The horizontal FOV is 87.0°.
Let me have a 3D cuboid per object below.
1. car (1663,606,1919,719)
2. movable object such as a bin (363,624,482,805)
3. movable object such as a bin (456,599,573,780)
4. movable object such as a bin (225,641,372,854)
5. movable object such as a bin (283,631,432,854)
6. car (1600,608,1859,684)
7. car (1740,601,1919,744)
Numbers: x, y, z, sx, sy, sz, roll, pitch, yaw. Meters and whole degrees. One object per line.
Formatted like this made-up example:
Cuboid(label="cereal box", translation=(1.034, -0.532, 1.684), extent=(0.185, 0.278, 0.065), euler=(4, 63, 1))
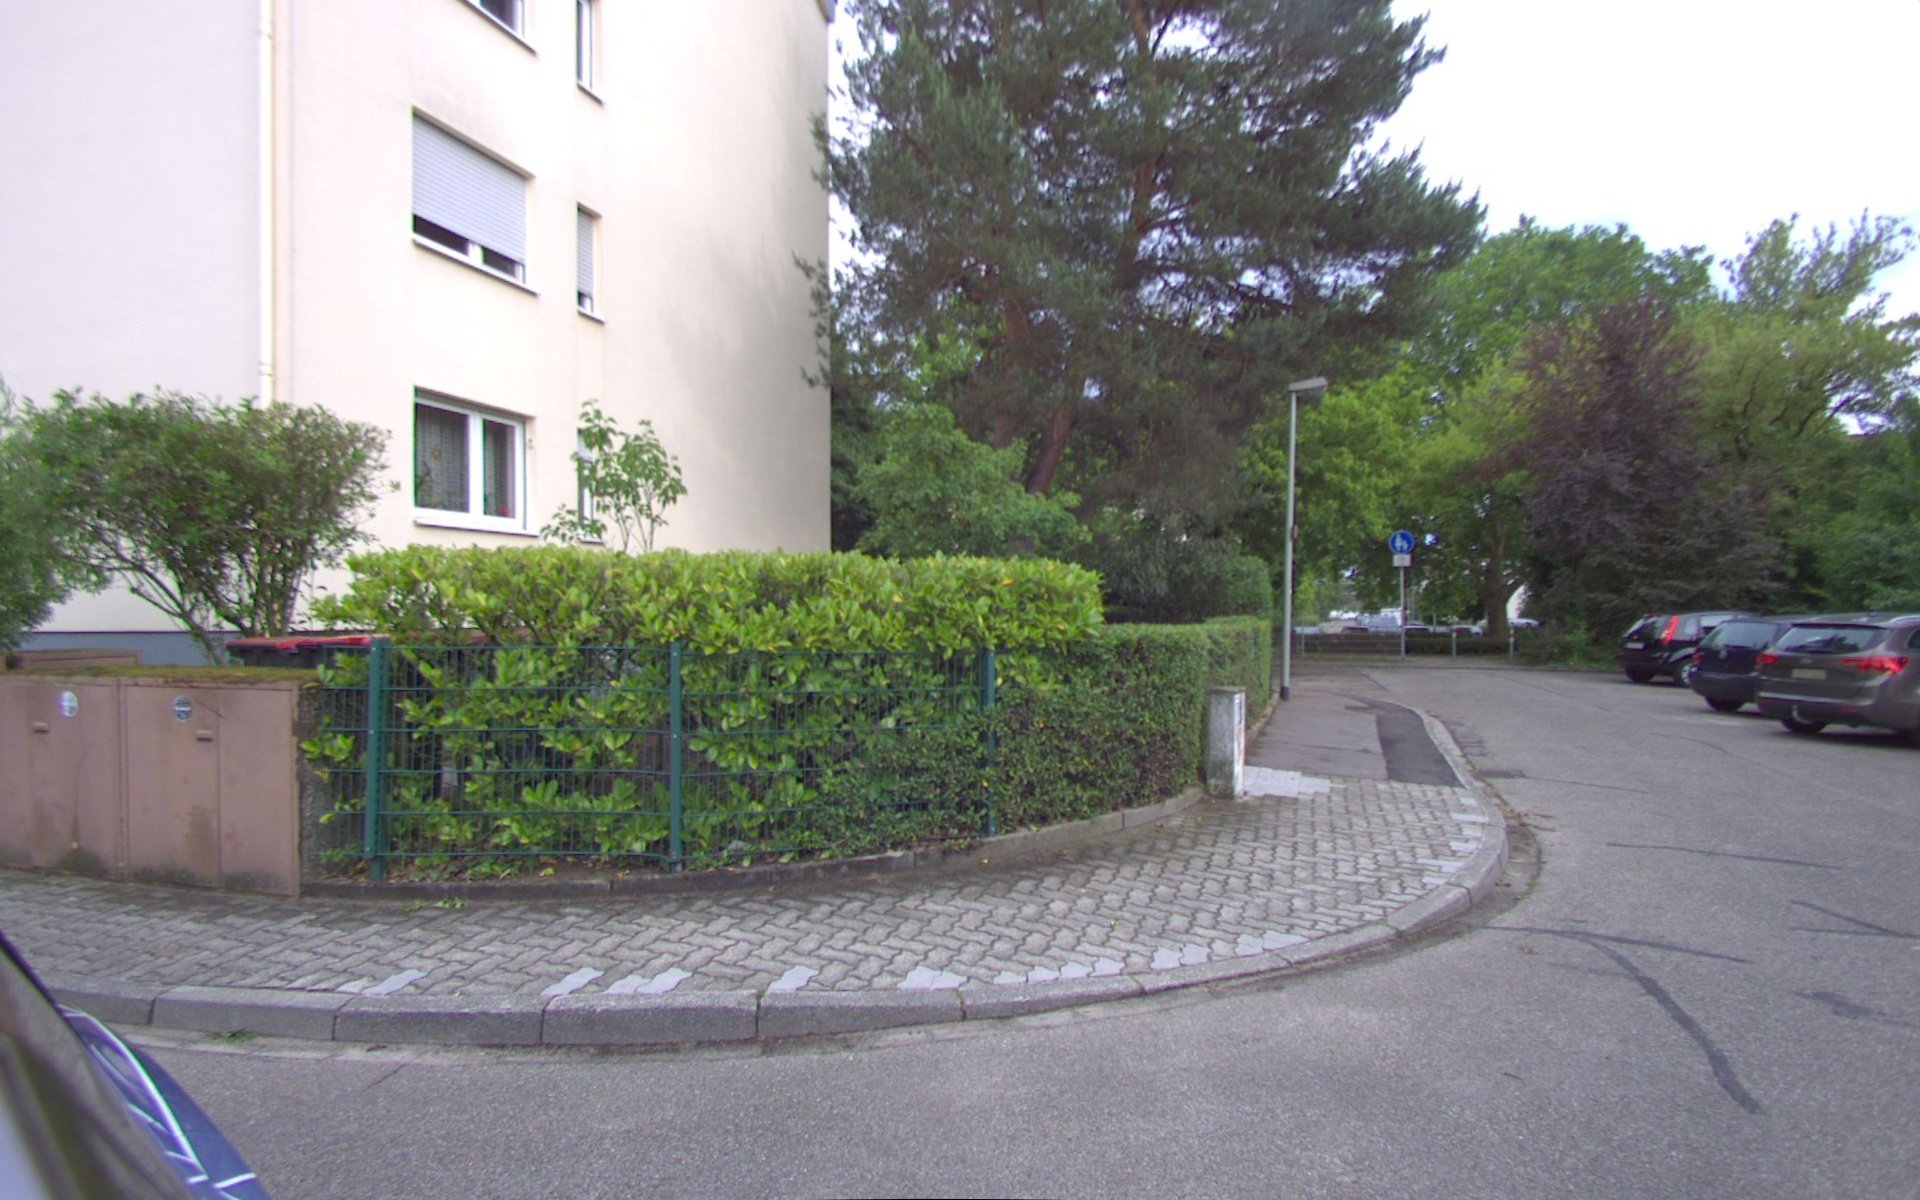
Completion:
Cuboid(label="car", translation=(12.632, 0.837, 14.579), extent=(3.937, 1.502, 1.704), euler=(0, -1, -7))
Cuboid(label="movable object such as a bin", translation=(-3.743, 0.773, 7.067), extent=(0.511, 1.197, 0.504), euler=(-1, -2, 17))
Cuboid(label="movable object such as a bin", translation=(-3.021, 0.590, 6.893), extent=(0.511, 1.174, 0.504), euler=(-1, -2, 17))
Cuboid(label="movable object such as a bin", translation=(-3.928, 0.843, 6.028), extent=(0.511, 1.197, 0.504), euler=(-1, -2, 17))
Cuboid(label="movable object such as a bin", translation=(-3.433, 0.779, 5.791), extent=(0.511, 1.197, 0.504), euler=(-1, -2, 17))
Cuboid(label="car", translation=(15.021, 0.862, 19.870), extent=(3.937, 1.385, 1.704), euler=(0, -1, -7))
Cuboid(label="car", translation=(11.579, 0.768, 11.703), extent=(3.937, 1.502, 1.704), euler=(0, -1, -7))
